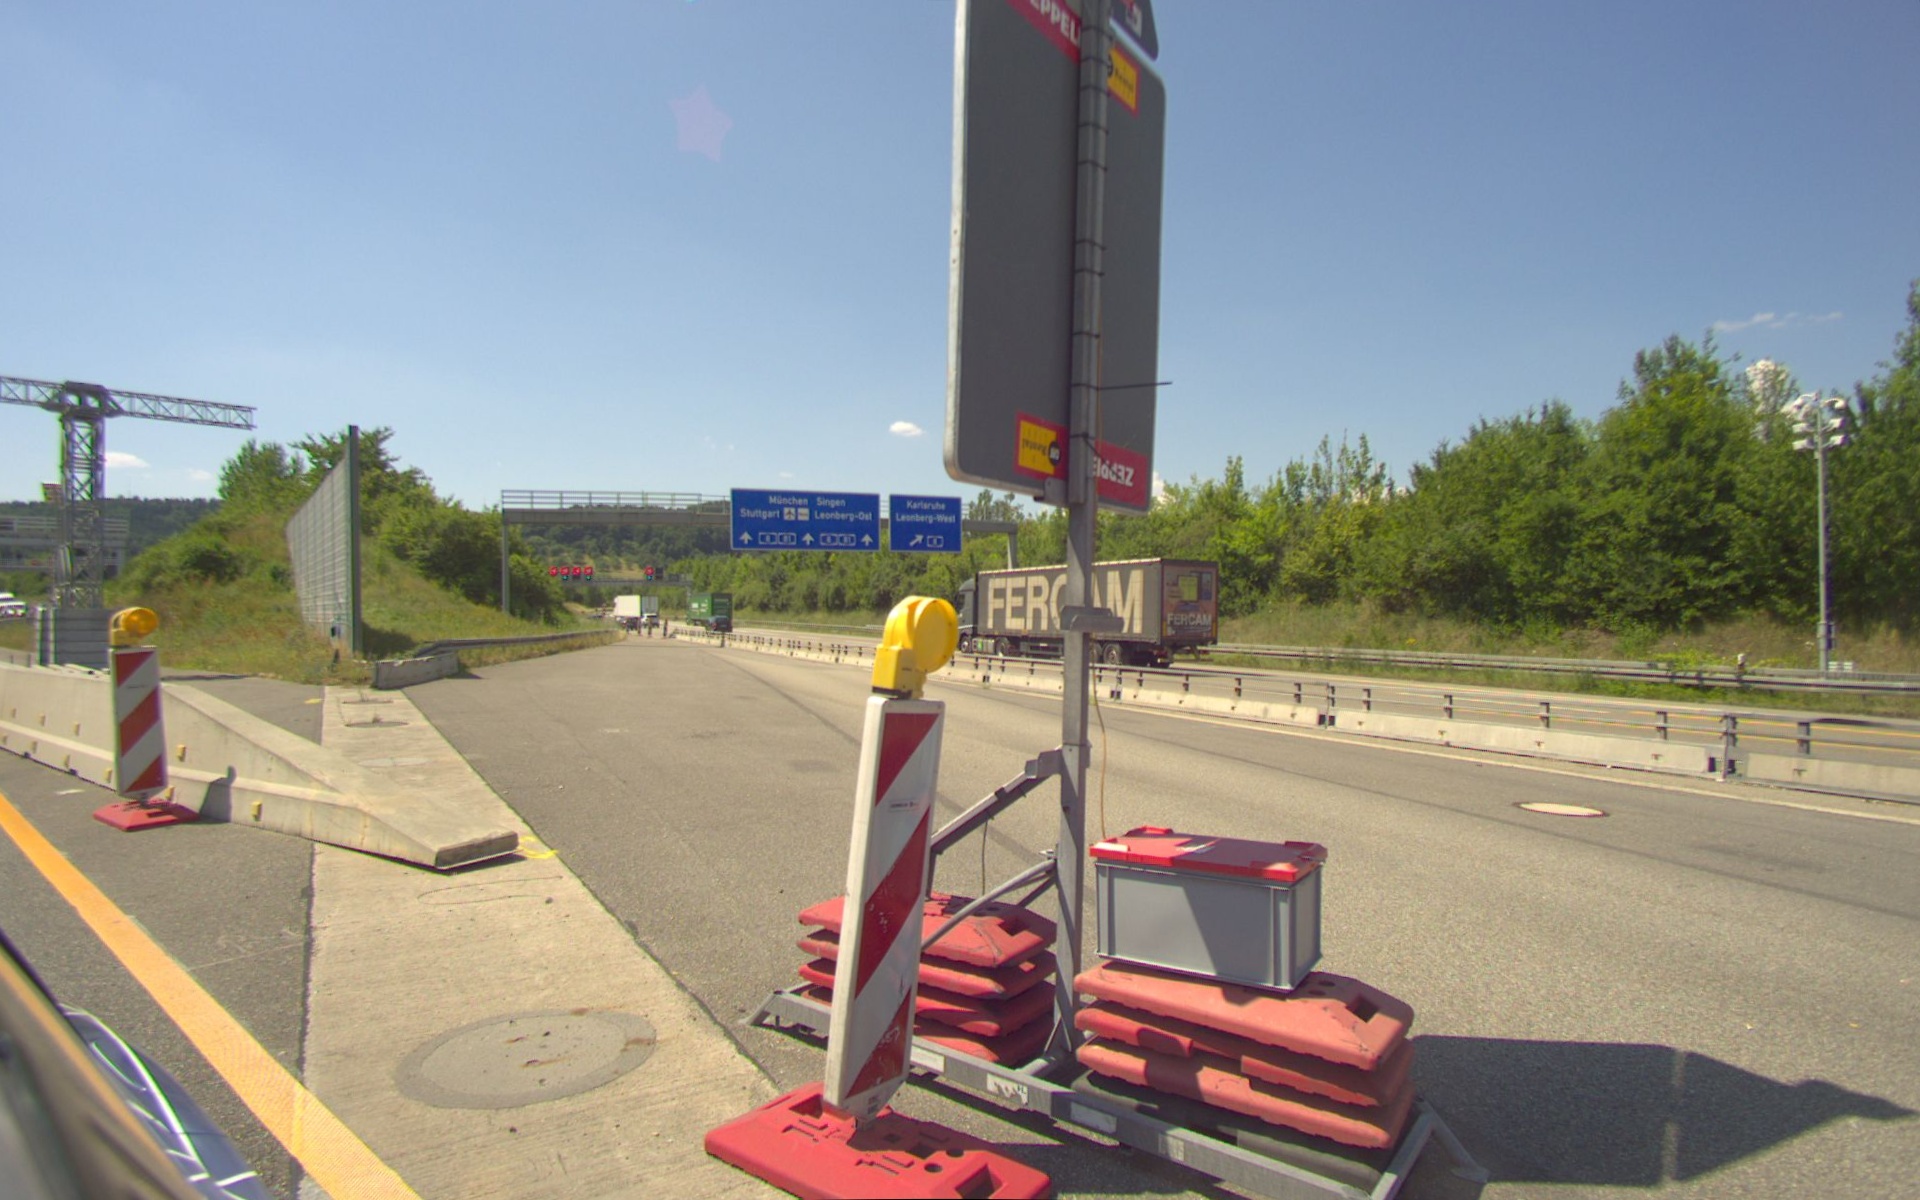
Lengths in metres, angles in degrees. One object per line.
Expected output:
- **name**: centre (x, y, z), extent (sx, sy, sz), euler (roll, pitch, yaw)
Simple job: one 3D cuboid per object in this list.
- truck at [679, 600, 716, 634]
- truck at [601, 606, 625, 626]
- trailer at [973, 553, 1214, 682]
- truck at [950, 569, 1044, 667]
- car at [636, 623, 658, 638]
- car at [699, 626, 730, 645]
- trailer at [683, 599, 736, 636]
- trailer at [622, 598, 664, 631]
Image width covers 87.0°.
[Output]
- **truck**: centre (-34.122, 2.133, 131.389), extent (3.496, 4.302, 5.798), euler (-1, 0, -26)
- **truck**: centre (-79.320, 3.507, 230.974), extent (3.496, 4.302, 13.954), euler (-1, 0, -26)
- **trailer**: centre (4.693, 0.687, 40.818), extent (2.401, 4.329, 13.854), euler (1, -1, -26)
- **truck**: centre (1.640, 0.817, 47.106), extent (2.397, 4.302, 4.854), euler (1, -1, -26)
- **car**: centre (-36.714, 3.560, 118.758), extent (1.692, 1.636, 4.183), euler (0, -1, -29)
- **car**: centre (-21.310, 3.055, 87.819), extent (1.692, 1.502, 3.699), euler (1, -1, -30)
- **trailer**: centre (-31.099, 2.091, 125.164), extent (3.496, 4.302, 13.954), euler (-1, 0, -26)
- **trailer**: centre (-44.541, 1.975, 141.824), extent (3.496, 4.302, 13.954), euler (-1, 0, -26)
